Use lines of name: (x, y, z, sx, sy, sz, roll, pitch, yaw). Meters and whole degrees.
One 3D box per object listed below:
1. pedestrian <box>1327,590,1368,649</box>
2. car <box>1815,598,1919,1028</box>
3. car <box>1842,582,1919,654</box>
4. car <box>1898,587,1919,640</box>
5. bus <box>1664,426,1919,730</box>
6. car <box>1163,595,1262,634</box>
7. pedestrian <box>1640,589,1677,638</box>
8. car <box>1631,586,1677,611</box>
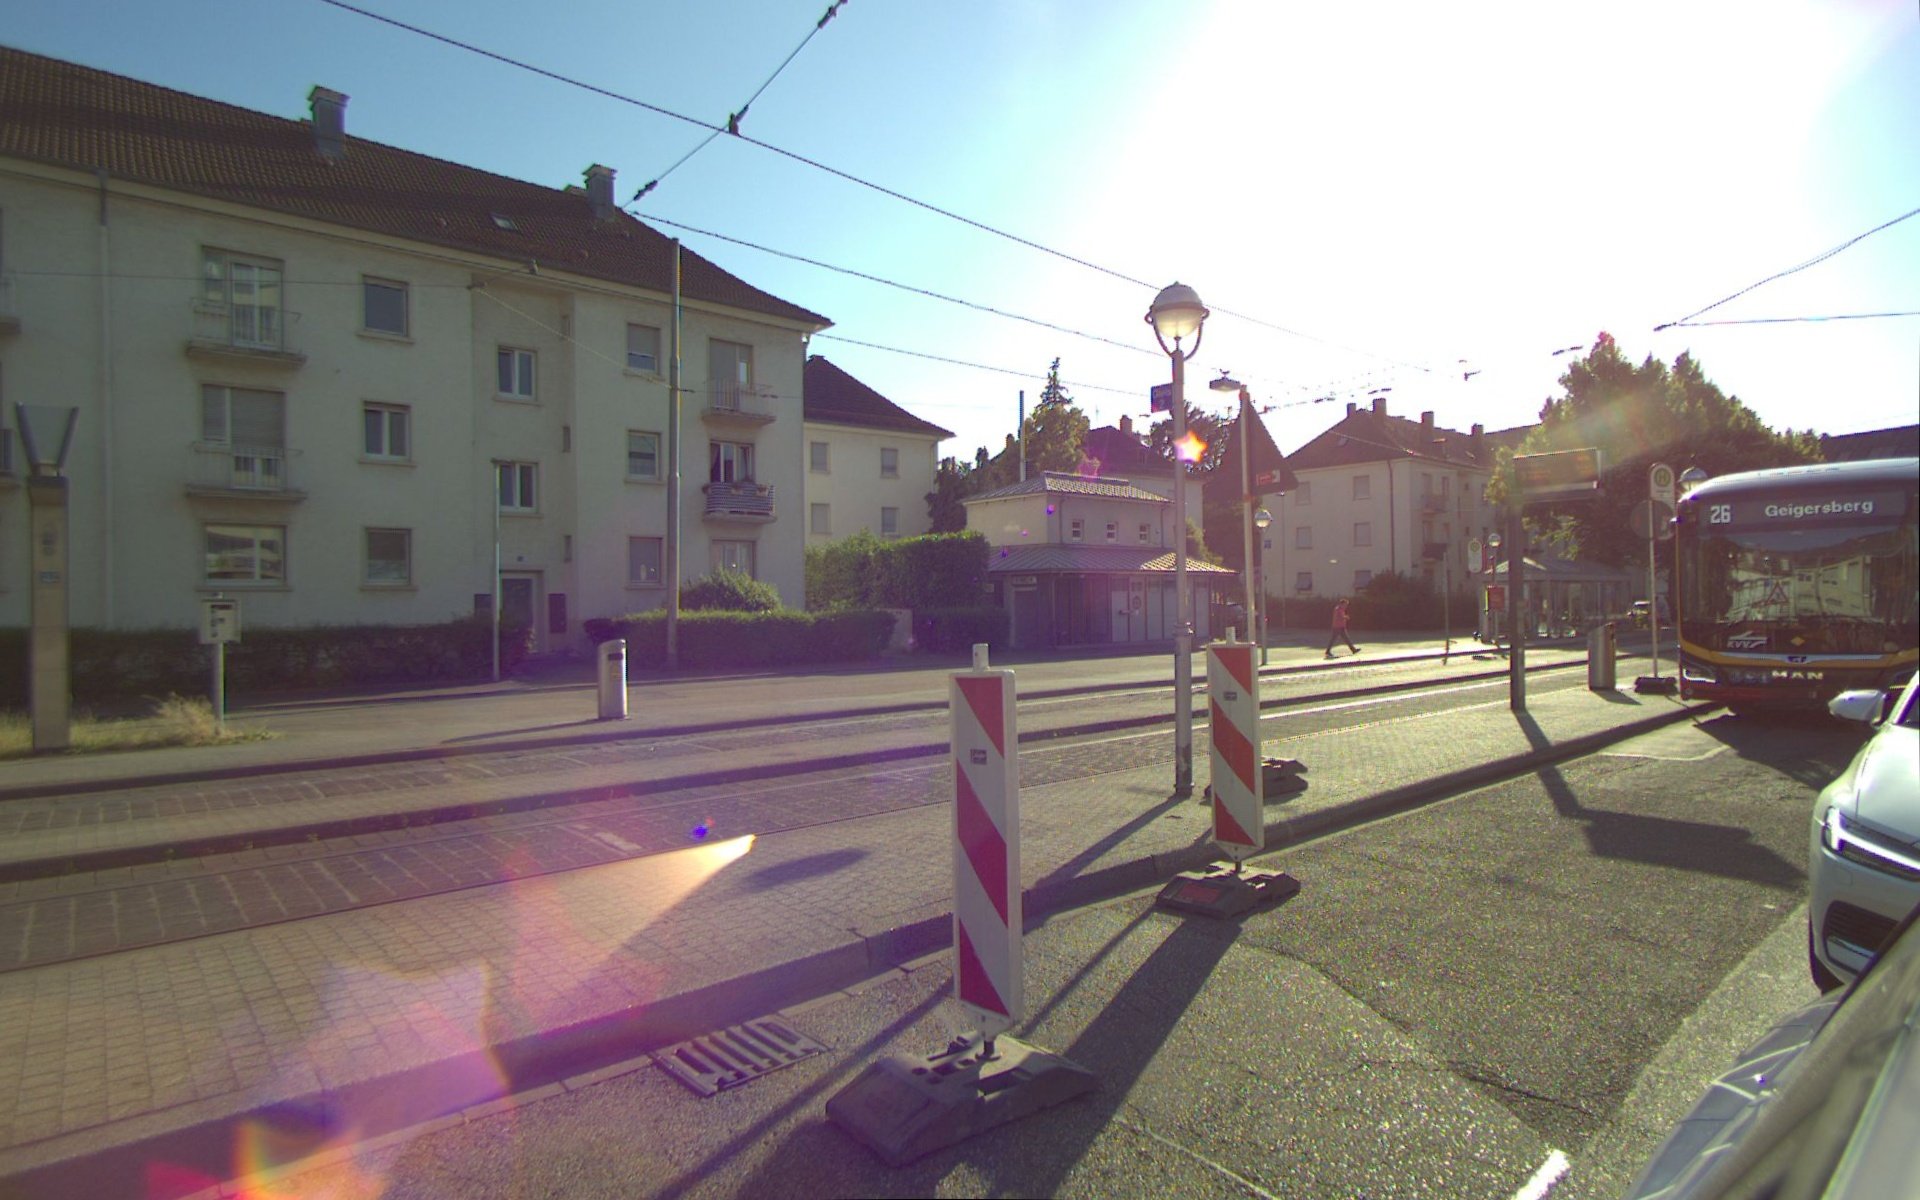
pedestrian: (11.579, 0.572, 30.226, 0.810, 1.740, 0.842, 0, 0, -39)
car: (5.273, 0.732, 4.359, 4.143, 1.472, 1.819, 0, 0, -41)
car: (21.226, 0.362, 22.364, 4.740, 1.477, 1.968, 0, 0, -41)
car: (28.785, 0.371, 29.229, 4.740, 1.477, 1.968, 0, 0, -41)
bus: (14.318, -0.262, 15.846, 11.824, 3.345, 2.745, 0, 0, -42)
car: (11.586, 0.687, 46.668, 1.964, 1.694, 4.050, -1, -1, -39)
pedestrian: (23.587, 0.440, 34.203, 0.814, 1.631, 0.837, 0, 0, 19)
car: (53.781, -0.103, 78.434, 3.930, 1.887, 1.997, -1, 0, -41)
